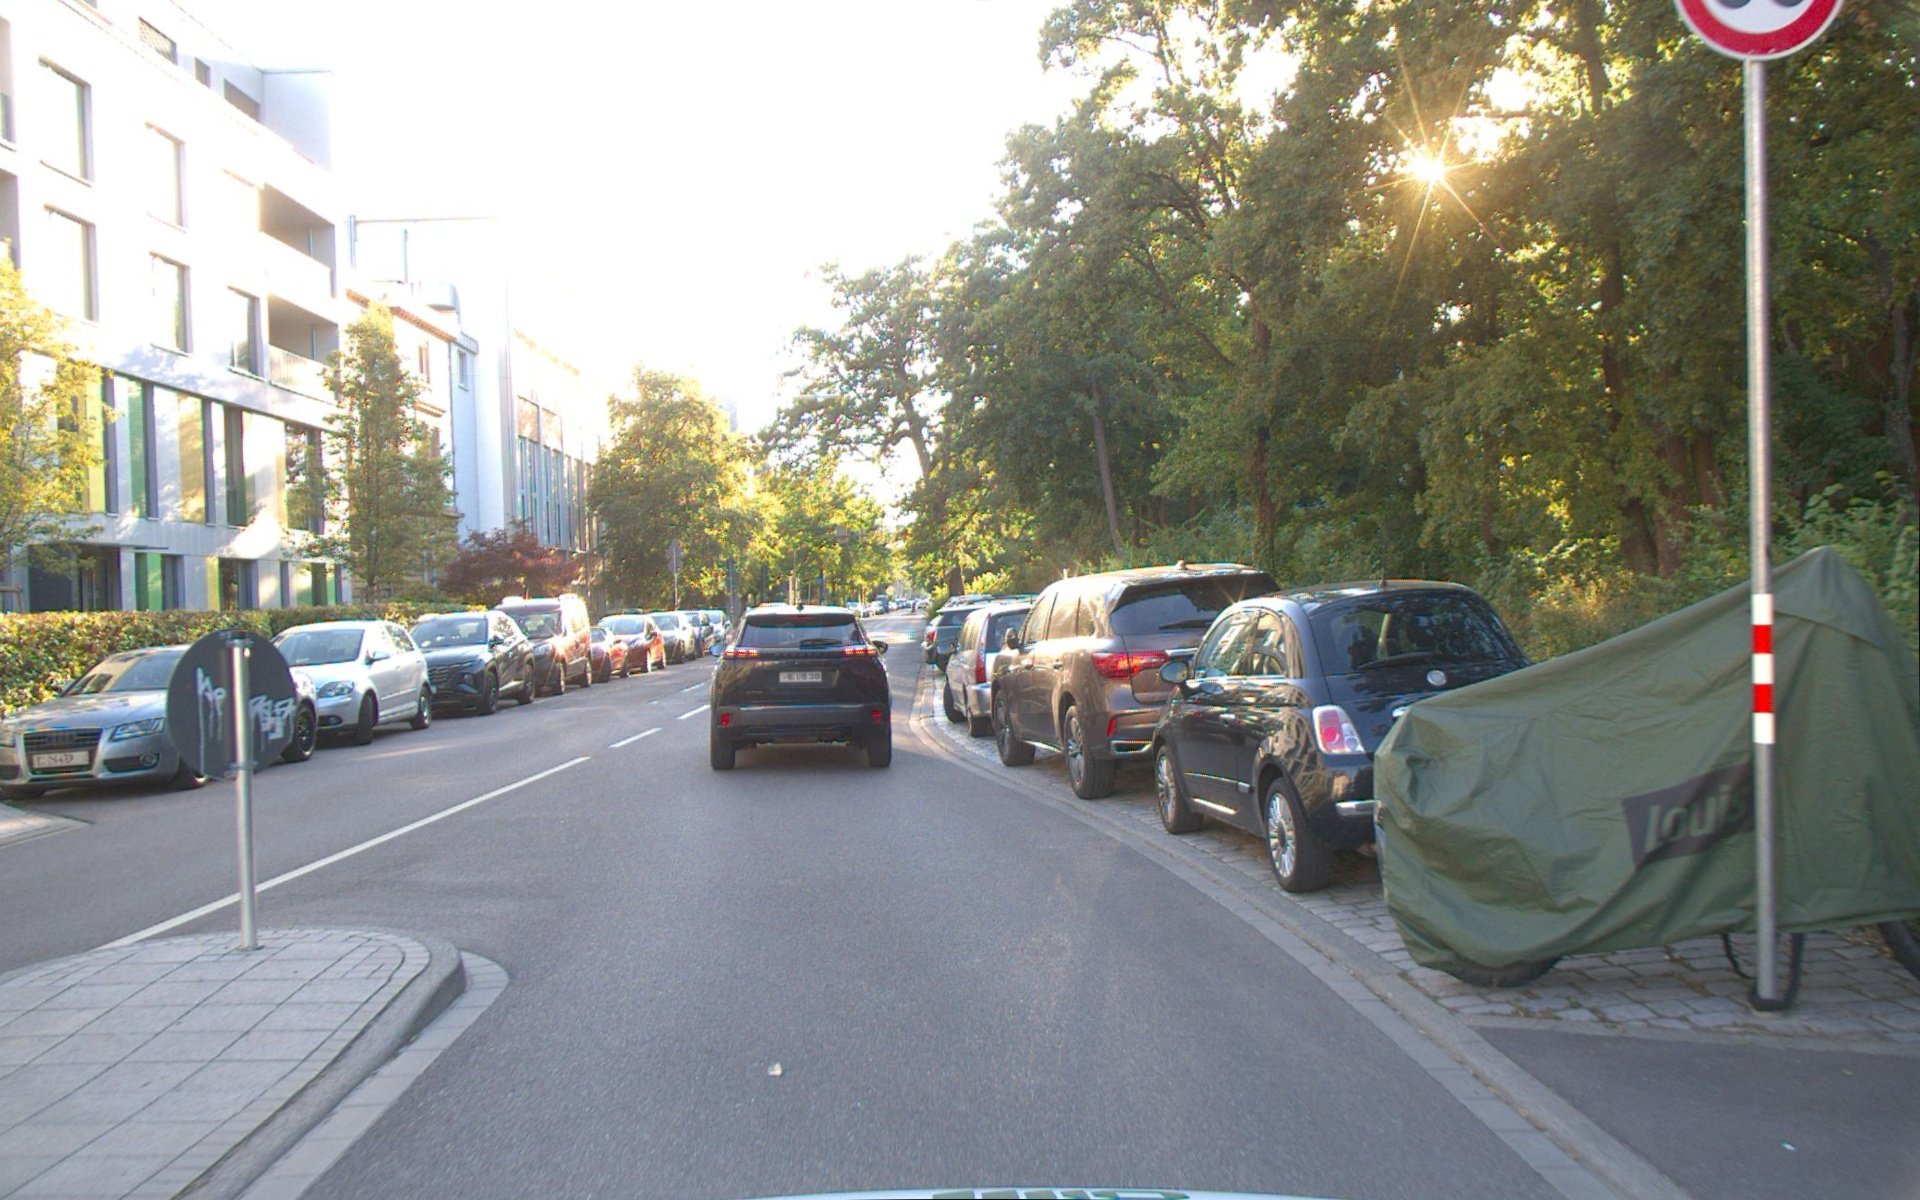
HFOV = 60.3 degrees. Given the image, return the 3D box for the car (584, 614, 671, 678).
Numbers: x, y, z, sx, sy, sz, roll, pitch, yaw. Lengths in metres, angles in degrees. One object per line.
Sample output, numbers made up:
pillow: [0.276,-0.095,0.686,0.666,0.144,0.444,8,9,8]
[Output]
car: [-8.587,1.154,42.977,1.566,1.480,3.860,-3,0,-2]

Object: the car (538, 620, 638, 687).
car: [-8.567,1.203,38.371,1.525,1.302,3.731,-3,1,-2]

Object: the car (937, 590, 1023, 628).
car: [0.992,0.425,80.277,4.083,1.740,1.868,-2,0,3]

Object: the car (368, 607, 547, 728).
car: [-8.343,1.055,27.860,1.707,1.705,4.415,-3,1,-2]

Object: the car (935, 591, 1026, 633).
car: [0.902,0.544,75.536,4.039,1.696,1.722,-2,0,-1]

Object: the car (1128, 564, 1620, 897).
car: [2.193,0.628,9.700,1.589,1.512,3.413,-3,0,-8]

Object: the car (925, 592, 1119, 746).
car: [0.641,0.756,20.209,1.619,1.595,4.294,-3,0,-7]

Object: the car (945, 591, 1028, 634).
car: [1.142,0.553,73.061,3.517,1.593,1.817,-4,-1,-2]

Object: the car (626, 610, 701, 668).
car: [-8.795,1.129,49.333,1.566,1.480,4.053,-3,1,-2]

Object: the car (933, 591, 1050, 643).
car: [1.181,0.624,62.233,4.250,1.500,1.742,-5,1,0]

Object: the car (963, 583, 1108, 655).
car: [1.981,0.503,44.072,3.651,1.524,1.820,-6,-1,-1]

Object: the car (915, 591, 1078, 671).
car: [0.811,0.704,38.702,3.594,1.469,1.734,-6,0,-3]

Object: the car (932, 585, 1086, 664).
car: [1.189,0.602,41.392,3.594,1.579,1.734,-6,0,-3]

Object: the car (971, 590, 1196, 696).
car: [1.990,0.684,27.424,3.553,1.567,1.671,-2,0,-1]

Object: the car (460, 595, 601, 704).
car: [-8.561,0.936,33.328,1.771,1.922,4.236,-3,1,-2]

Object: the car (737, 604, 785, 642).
car: [-9.134,1.034,76.195,1.637,1.519,4.061,-3,1,-1]

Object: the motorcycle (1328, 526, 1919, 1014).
motorcycle: [2.644,0.571,6.143,2.247,1.572,1.038,-3,0,27]

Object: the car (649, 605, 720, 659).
car: [-8.961,1.008,54.030,1.566,1.534,3.787,-3,1,1]

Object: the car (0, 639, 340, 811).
car: [-8.152,1.196,17.266,1.707,1.380,4.395,-3,0,-1]

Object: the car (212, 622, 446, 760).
car: [-8.391,1.141,22.374,1.707,1.560,4.113,-3,0,-3]

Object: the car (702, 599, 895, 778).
car: [-1.582,0.805,16.776,1.733,1.596,3.377,-1,0,-4]

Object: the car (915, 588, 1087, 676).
car: [0.863,0.685,36.324,3.539,1.551,1.670,-6,0,-3]

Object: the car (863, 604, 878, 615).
car: [-11.679,1.242,215.208,1.775,1.377,3.996,-3,0,-5]

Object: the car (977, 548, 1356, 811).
car: [1.524,0.573,14.159,1.887,1.779,4.655,-3,0,-10]

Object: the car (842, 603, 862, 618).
car: [-10.752,1.011,165.082,1.775,1.377,3.995,-3,0,-6]

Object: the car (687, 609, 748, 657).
car: [-8.591,1.145,58.938,1.568,1.519,3.772,-3,1,-1]

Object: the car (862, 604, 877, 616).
car: [-11.231,1.229,205.159,1.775,1.377,3.975,-3,0,-5]
